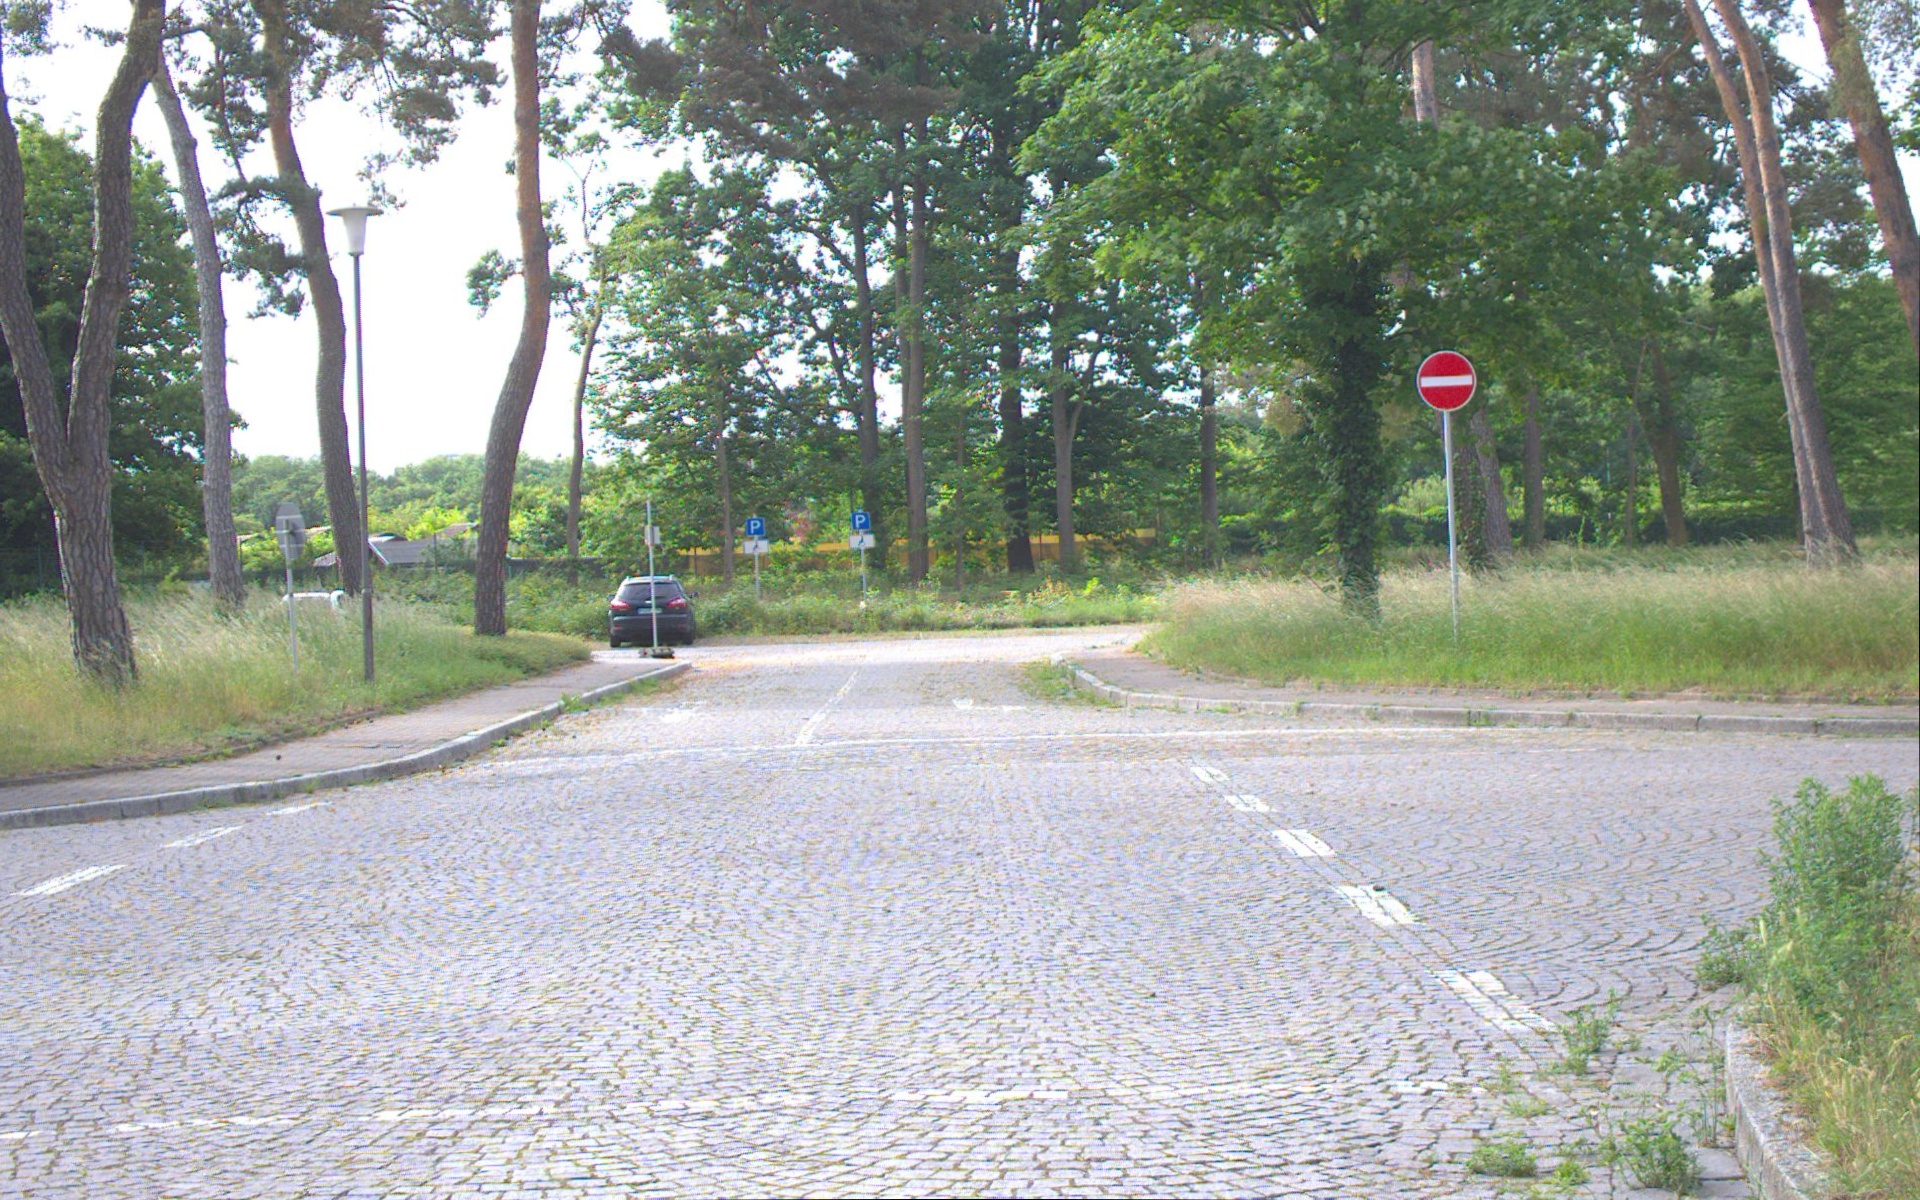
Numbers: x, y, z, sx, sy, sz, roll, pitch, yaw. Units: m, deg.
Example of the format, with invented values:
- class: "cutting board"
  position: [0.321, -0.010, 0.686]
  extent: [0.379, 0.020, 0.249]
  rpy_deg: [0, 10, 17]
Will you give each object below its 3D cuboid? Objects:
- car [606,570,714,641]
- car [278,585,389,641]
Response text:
- class: "car"
  position: [-6.630, 0.098, 76.263]
  extent: [1.993, 1.503, 4.000]
  rpy_deg: [0, 1, 1]
- class: "car"
  position: [-14.057, 0.280, 77.349]
  extent: [1.689, 1.152, 4.000]
  rpy_deg: [-2, 1, 1]
